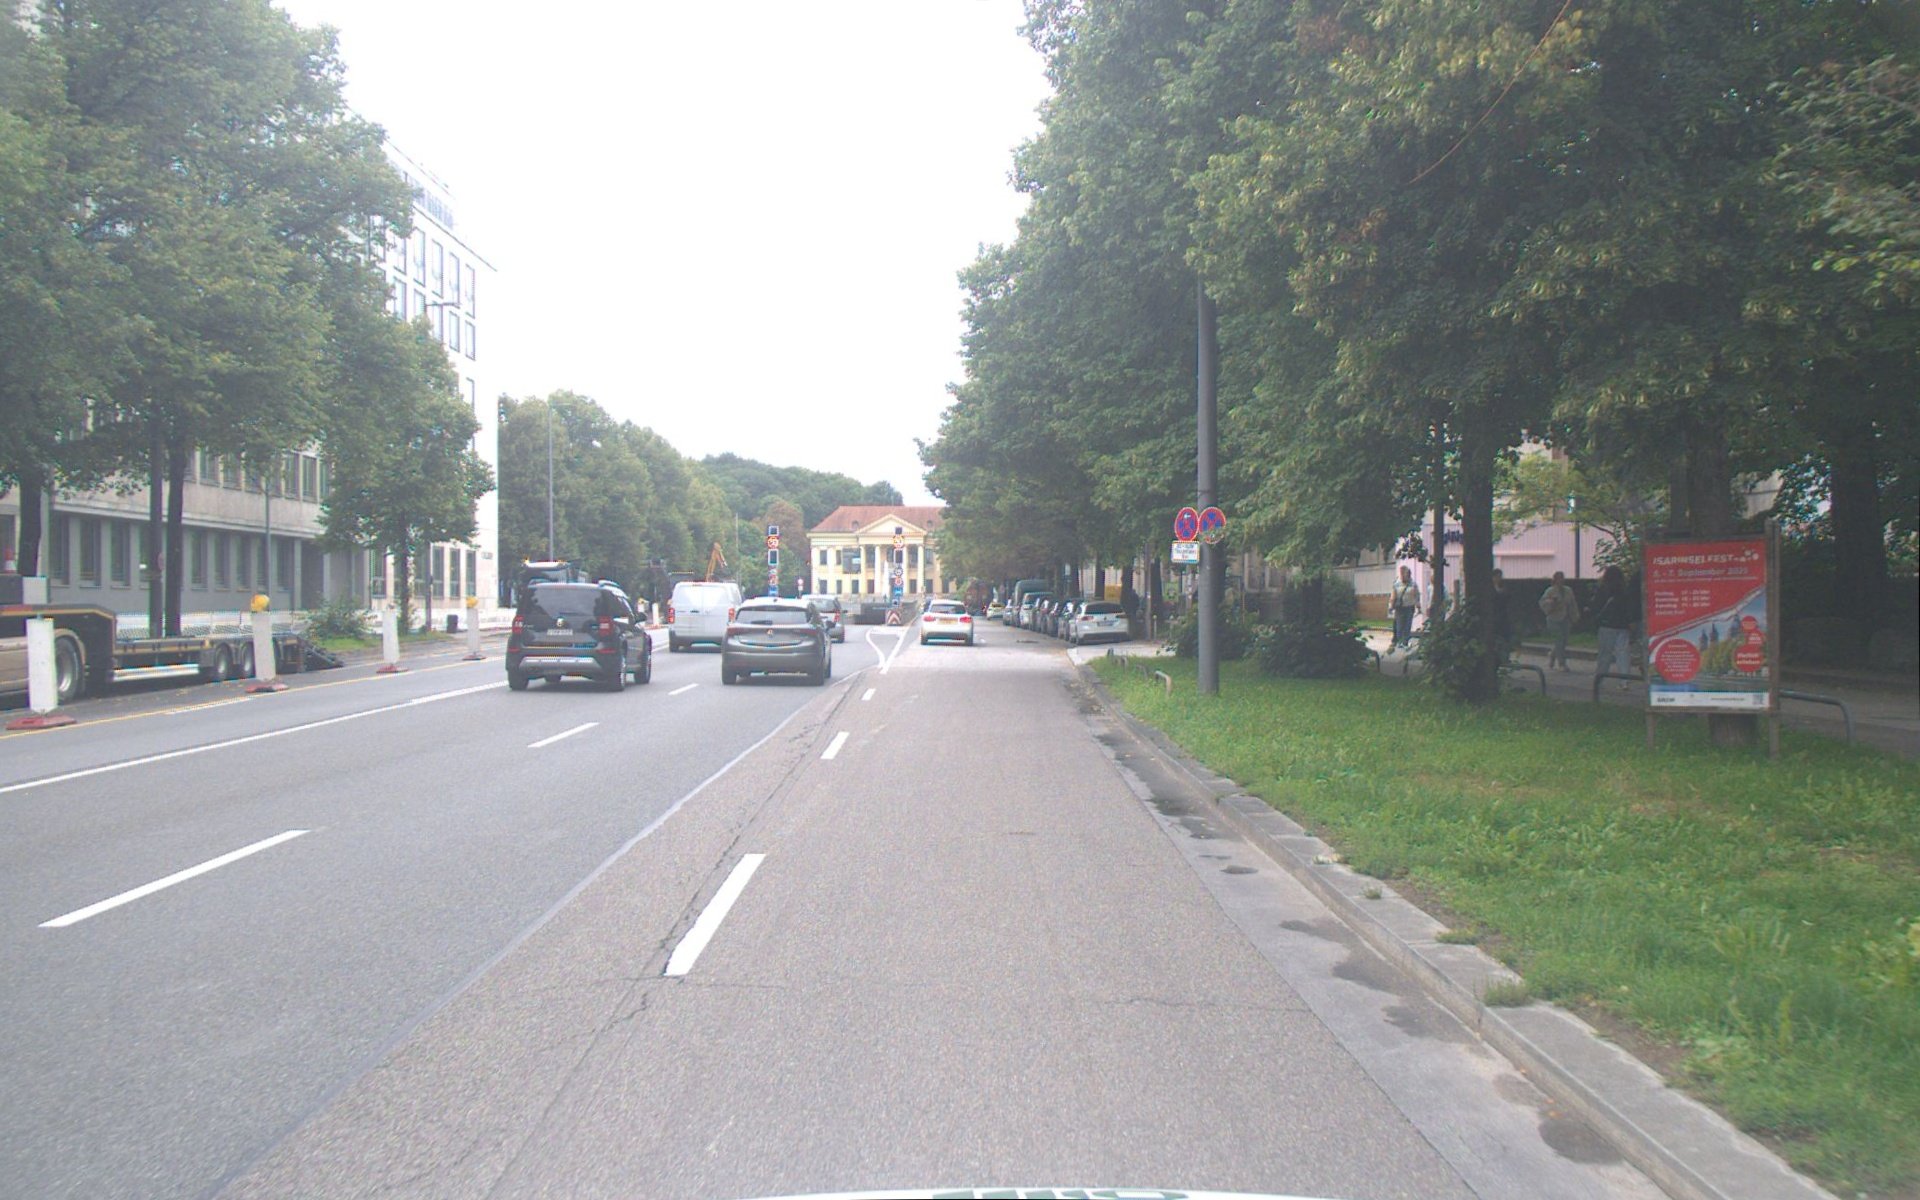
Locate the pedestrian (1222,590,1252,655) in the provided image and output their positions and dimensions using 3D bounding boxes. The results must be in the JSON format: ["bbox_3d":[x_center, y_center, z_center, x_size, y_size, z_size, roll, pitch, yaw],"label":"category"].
[{"bbox_3d":[8.445,0.679,50.516,0.763,1.943,0.771,1,0,0],"label":"pedestrian"}]

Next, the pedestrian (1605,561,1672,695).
[{"bbox_3d":[9.265,0.373,22.617,0.595,1.794,0.797,1,0,3],"label":"pedestrian"}]

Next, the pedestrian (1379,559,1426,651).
[{"bbox_3d":[10.093,0.117,37.726,0.747,2.048,0.776,-3,0,-1],"label":"pedestrian"}]

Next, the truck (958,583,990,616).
[{"bbox_3d":[1.444,-0.088,179.204,3.258,3.426,8.660,1,0,-1],"label":"truck"}]

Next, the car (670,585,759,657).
[{"bbox_3d":[-6.800,0.572,46.255,1.860,1.880,4.954,0,0,-2],"label":"car"}]

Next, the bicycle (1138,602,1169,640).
[{"bbox_3d":[6.570,0.703,56.376,0.616,1.252,2.617,1,0,-3],"label":"bicycle"}]

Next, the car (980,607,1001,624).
[{"bbox_3d":[2.598,1.317,142.025,1.689,1.347,4.027,-1,0,0],"label":"car"}]

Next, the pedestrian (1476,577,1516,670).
[{"bbox_3d":[9.978,0.439,30.798,0.568,1.705,0.553,1,0,3],"label":"pedestrian"}]

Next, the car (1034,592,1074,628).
[{"bbox_3d":[4.583,0.466,81.081,1.689,1.694,4.589,-1,0,0],"label":"car"}]

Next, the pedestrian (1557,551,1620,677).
[{"bbox_3d":[8.694,0.190,22.907,0.595,1.710,0.754,1,0,3],"label":"pedestrian"}]

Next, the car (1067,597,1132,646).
[{"bbox_3d":[4.779,0.726,57.102,1.790,1.577,4.751,-1,0,0],"label":"car"}]

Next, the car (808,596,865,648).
[{"bbox_3d":[-4.194,0.740,56.593,1.743,1.683,3.999,1,0,-2],"label":"car"}]

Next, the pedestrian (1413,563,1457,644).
[{"bbox_3d":[11.084,0.081,38.583,0.587,1.840,0.719,-2,0,-25],"label":"pedestrian"}]

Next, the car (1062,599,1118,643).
[{"bbox_3d":[4.836,0.770,62.116,1.689,1.577,4.585,-1,0,0],"label":"car"}]

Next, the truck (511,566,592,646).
[{"bbox_3d":[-18.611,0.281,75.786,2.788,3.415,8.745,1,0,-9],"label":"truck"}]

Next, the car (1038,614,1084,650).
[{"bbox_3d":[4.541,1.419,74.517,1.785,1.490,4.027,-1,0,0],"label":"car"}]

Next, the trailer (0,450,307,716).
[{"bbox_3d":[-14.957,-0.254,29.513,2.892,3.805,11.757,1,0,-5],"label":"trailer"}]

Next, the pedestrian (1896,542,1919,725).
[{"bbox_3d":[9.704,0.326,16.180,0.738,1.767,0.850,1,0,14],"label":"pedestrian"}]

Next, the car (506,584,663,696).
[{"bbox_3d":[-6.023,0.614,26.945,1.688,1.665,4.203,0,0,-2],"label":"car"}]

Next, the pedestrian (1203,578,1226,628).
[{"bbox_3d":[10.007,0.107,65.055,0.748,1.943,0.771,1,0,0],"label":"pedestrian"}]

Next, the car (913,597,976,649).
[{"bbox_3d":[-0.556,0.753,55.802,1.745,1.673,3.995,1,0,-6],"label":"car"}]

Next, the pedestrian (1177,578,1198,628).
[{"bbox_3d":[8.930,0.106,64.989,0.685,1.943,0.771,1,0,0],"label":"pedestrian"}]

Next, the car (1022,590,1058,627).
[{"bbox_3d":[4.245,0.434,88.303,1.689,1.900,4.027,-1,0,0],"label":"car"}]

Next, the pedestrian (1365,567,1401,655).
[{"bbox_3d":[10.068,0.251,39.353,0.582,2.049,0.724,-2,0,0],"label":"pedestrian"}]

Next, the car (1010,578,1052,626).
[{"bbox_3d":[4.073,0.129,95.325,1.953,2.689,4.875,1,0,-2],"label":"car"}]

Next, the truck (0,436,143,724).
[{"bbox_3d":[-14.325,-0.284,22.757,2.859,3.841,7.657,1,0,-5],"label":"truck"}]

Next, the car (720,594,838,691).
[{"bbox_3d":[-3.153,0.710,29.443,1.675,1.579,3.999,1,0,-1],"label":"car"}]

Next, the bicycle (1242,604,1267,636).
[{"bbox_3d":[13.234,0.887,74.454,0.685,1.440,2.298,-1,0,-1],"label":"bicycle"}]

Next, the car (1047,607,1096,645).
[{"bbox_3d":[4.612,1.065,69.215,1.689,1.490,4.775,-1,0,0],"label":"car"}]

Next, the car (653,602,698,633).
[{"bbox_3d":[-15.330,0.925,89.226,1.954,1.624,3.997,-1,0,-4],"label":"car"}]

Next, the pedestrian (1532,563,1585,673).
[{"bbox_3d":[10.052,0.301,27.789,0.617,1.805,0.782,1,0,3],"label":"pedestrian"}]

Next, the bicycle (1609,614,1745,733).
[{"bbox_3d":[6.824,0.665,15.832,0.376,1.039,2.079,1,0,0],"label":"bicycle"}]

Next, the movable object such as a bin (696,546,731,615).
[{"bbox_3d":[-24.084,-1.877,161.685,2.644,6.625,5.175,1,0,-1],"label":"movable object such as a bin"}]
